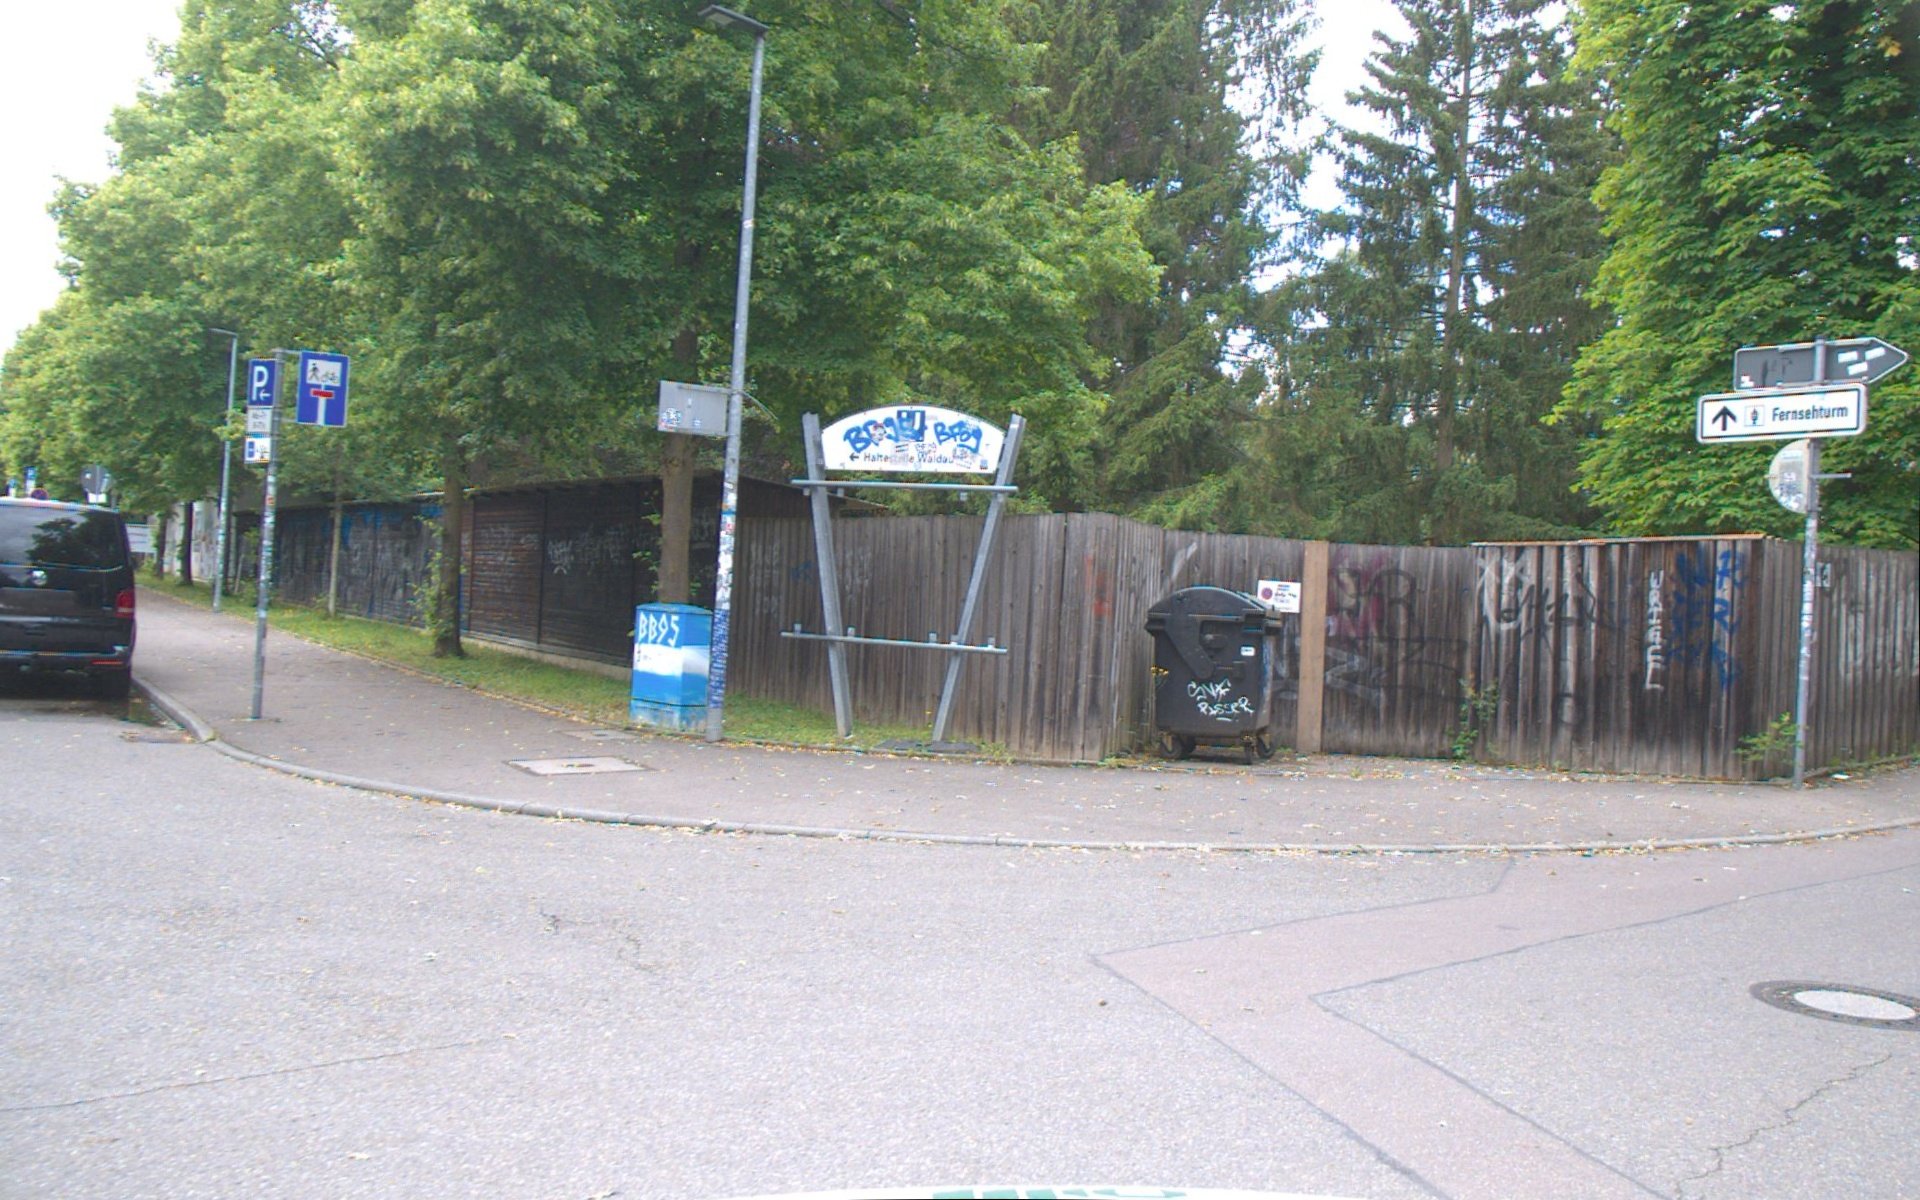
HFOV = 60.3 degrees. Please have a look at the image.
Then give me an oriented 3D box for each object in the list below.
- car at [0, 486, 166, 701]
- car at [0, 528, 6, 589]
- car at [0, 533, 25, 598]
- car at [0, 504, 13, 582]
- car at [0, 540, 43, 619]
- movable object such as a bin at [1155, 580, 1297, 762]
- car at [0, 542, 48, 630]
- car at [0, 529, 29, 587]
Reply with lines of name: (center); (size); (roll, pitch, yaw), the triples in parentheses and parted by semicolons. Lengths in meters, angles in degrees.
car: (-9.780, -0.112, 17.760); (1.967, 2.048, 4.068); (2, 1, -29)
car: (-32.801, -1.441, 55.307); (1.453, 2.002, 3.158); (2, 1, -29)
car: (-24.497, -0.904, 41.767); (1.453, 1.558, 3.158); (2, 1, -29)
car: (-39.618, -2.337, 66.878); (2.161, 3.068, 4.850); (2, 1, -29)
car: (-19.799, -0.464, 34.158); (1.453, 1.558, 3.158); (2, 1, -29)
movable object such as a bin: (2.330, 0.590, 14.348); (1.052, 1.468, 1.287); (1, -1, 15)
car: (-17.284, -0.292, 29.782); (1.453, 1.507, 3.158); (2, 1, -29)
car: (-27.054, -1.197, 46.491); (1.453, 1.558, 3.158); (2, 1, -29)
